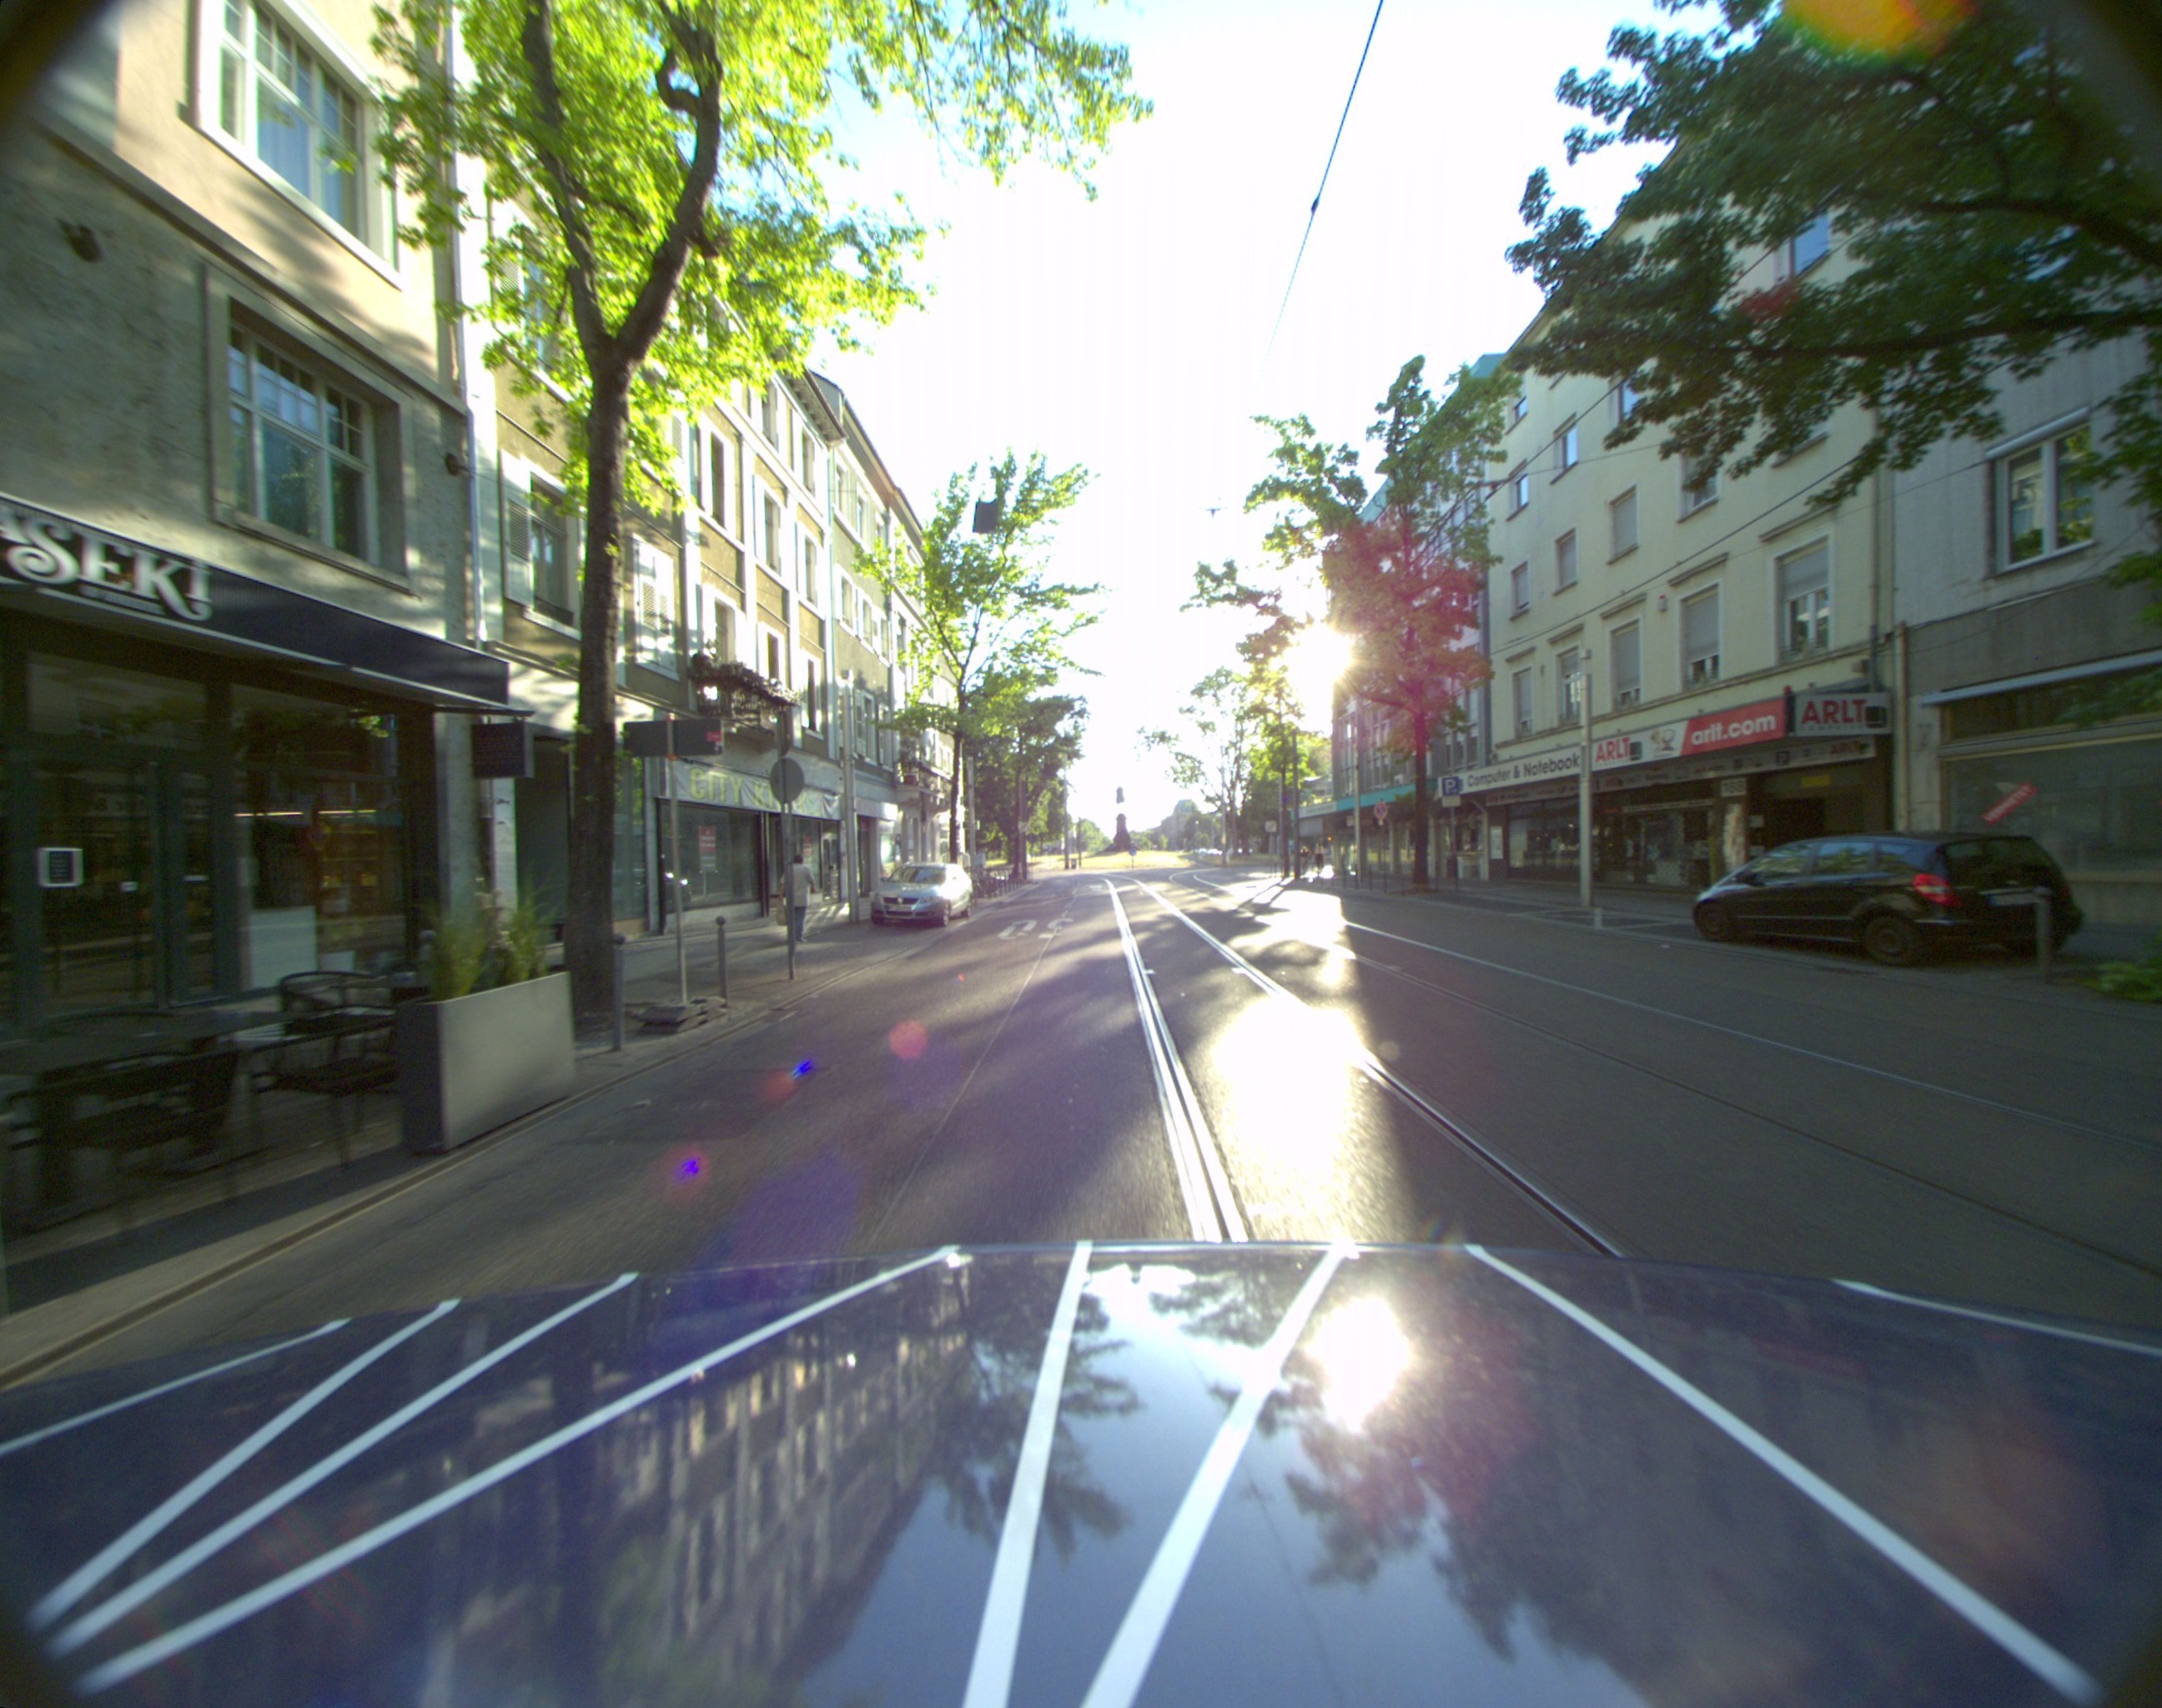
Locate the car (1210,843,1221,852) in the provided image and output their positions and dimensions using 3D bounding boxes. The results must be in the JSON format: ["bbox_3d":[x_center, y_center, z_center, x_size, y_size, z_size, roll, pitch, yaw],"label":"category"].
[{"bbox_3d":[31.848,-1.537,179.570,1.998,2.002,4.000,-1,1,2],"label":"car"}]

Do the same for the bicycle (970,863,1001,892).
[{"bbox_3d":[-4.014,0.973,31.937,0.462,1.148,1.677,-3,2,-38],"label":"bicycle"}]

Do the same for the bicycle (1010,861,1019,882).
[{"bbox_3d":[-3.768,0.978,43.064,0.355,1.070,1.698,-2,1,-1],"label":"bicycle"}]

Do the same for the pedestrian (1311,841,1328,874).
[{"bbox_3d":[15.059,0.212,47.998,0.798,2.002,0.734,-2,2,3],"label":"pedestrian"}]

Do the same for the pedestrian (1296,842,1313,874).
[{"bbox_3d":[14.169,0.258,48.174,0.798,2.002,0.734,-2,2,3],"label":"pedestrian"}]

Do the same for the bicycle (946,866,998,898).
[{"bbox_3d":[-4.170,1.064,29.069,1.870,1.148,0.562,-2,1,3],"label":"bicycle"}]

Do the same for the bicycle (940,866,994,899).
[{"bbox_3d":[-4.271,1.065,28.456,1.870,1.148,0.562,-2,1,3],"label":"bicycle"}]

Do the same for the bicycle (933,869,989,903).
[{"bbox_3d":[-4.293,1.134,27.194,1.870,1.148,0.562,1,2,3],"label":"bicycle"}]

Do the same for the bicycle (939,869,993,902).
[{"bbox_3d":[-4.207,1.147,27.855,1.870,1.148,0.562,-2,1,3],"label":"bicycle"}]

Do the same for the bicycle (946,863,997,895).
[{"bbox_3d":[-4.262,0.975,29.705,1.870,1.148,0.562,-2,1,3],"label":"bicycle"}]

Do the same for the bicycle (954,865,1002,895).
[{"bbox_3d":[-4.184,1.063,30.984,1.870,1.148,0.348,-2,1,3],"label":"bicycle"}]

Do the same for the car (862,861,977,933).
[{"bbox_3d":[-3.894,0.980,19.111,1.780,1.432,4.422,1,1,2],"label":"car"}]

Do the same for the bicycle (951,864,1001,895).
[{"bbox_3d":[-4.212,1.013,30.425,1.870,1.148,0.562,-2,1,3],"label":"bicycle"}]

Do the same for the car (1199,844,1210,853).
[{"bbox_3d":[31.011,-1.389,190.982,1.999,2.002,4.547,-2,1,-1],"label":"car"}]

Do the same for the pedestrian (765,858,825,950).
[{"bbox_3d":[-5.280,0.903,14.065,0.805,1.633,0.756,0,1,2],"label":"pedestrian"}]

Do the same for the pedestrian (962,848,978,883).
[{"bbox_3d":[-6.638,0.670,45.426,0.846,2.002,0.843,-2,2,-9],"label":"pedestrian"}]

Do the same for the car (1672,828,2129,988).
[{"bbox_3d":[10.598,0.575,10.393,1.966,1.630,4.000,-4,1,3],"label":"car"}]
